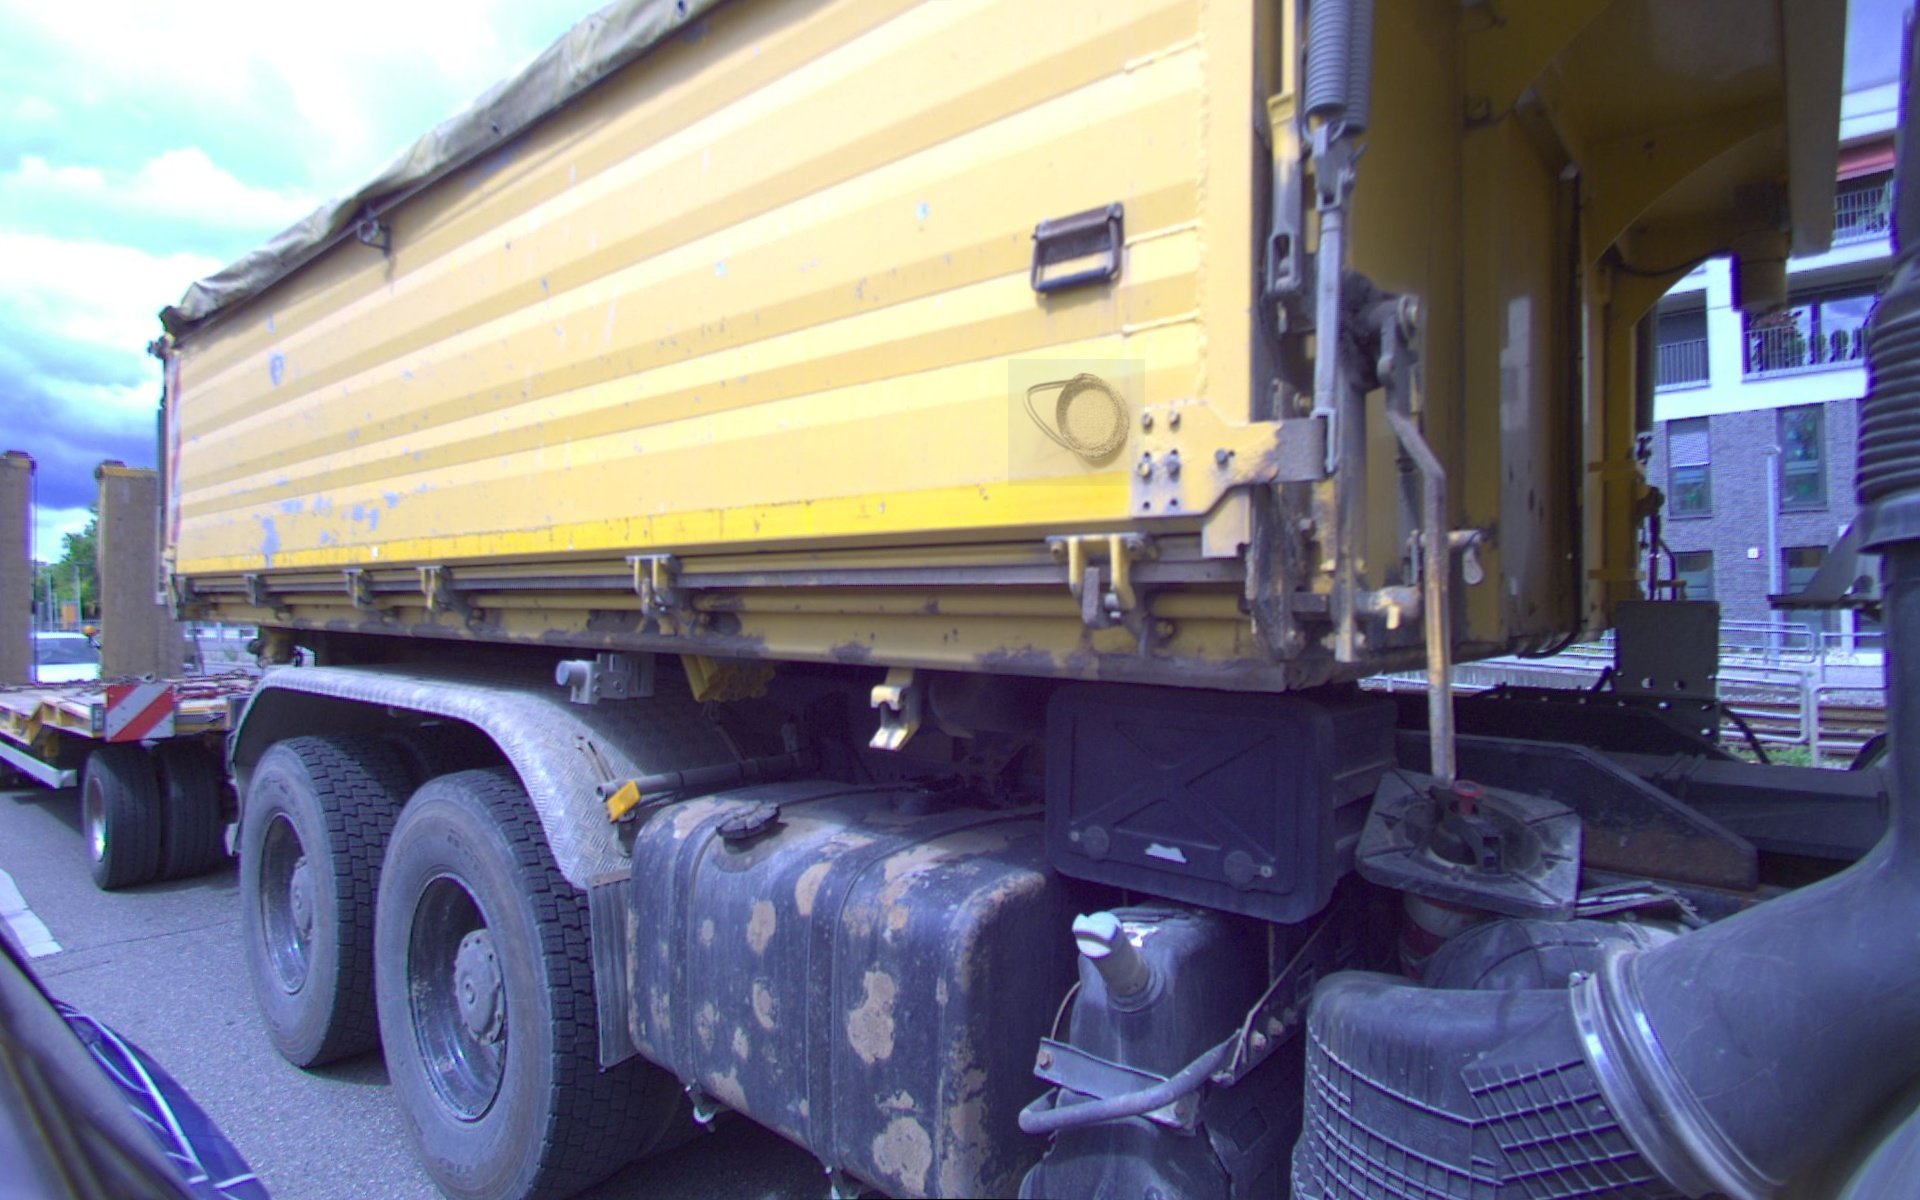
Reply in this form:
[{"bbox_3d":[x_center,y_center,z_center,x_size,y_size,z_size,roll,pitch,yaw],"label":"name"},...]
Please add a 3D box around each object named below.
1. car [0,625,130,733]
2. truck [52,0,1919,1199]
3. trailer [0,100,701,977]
[{"bbox_3d":[-14.059,1.128,15.294,3.784,1.427,1.761,-2,-1,41],"label":"car"},{"bbox_3d":[0.246,-0.230,2.796,7.999,3.420,3.019,-2,-1,40],"label":"truck"},{"bbox_3d":[-6.863,-0.143,9.008,10.957,3.726,3.018,-2,-1,40],"label":"trailer"}]
